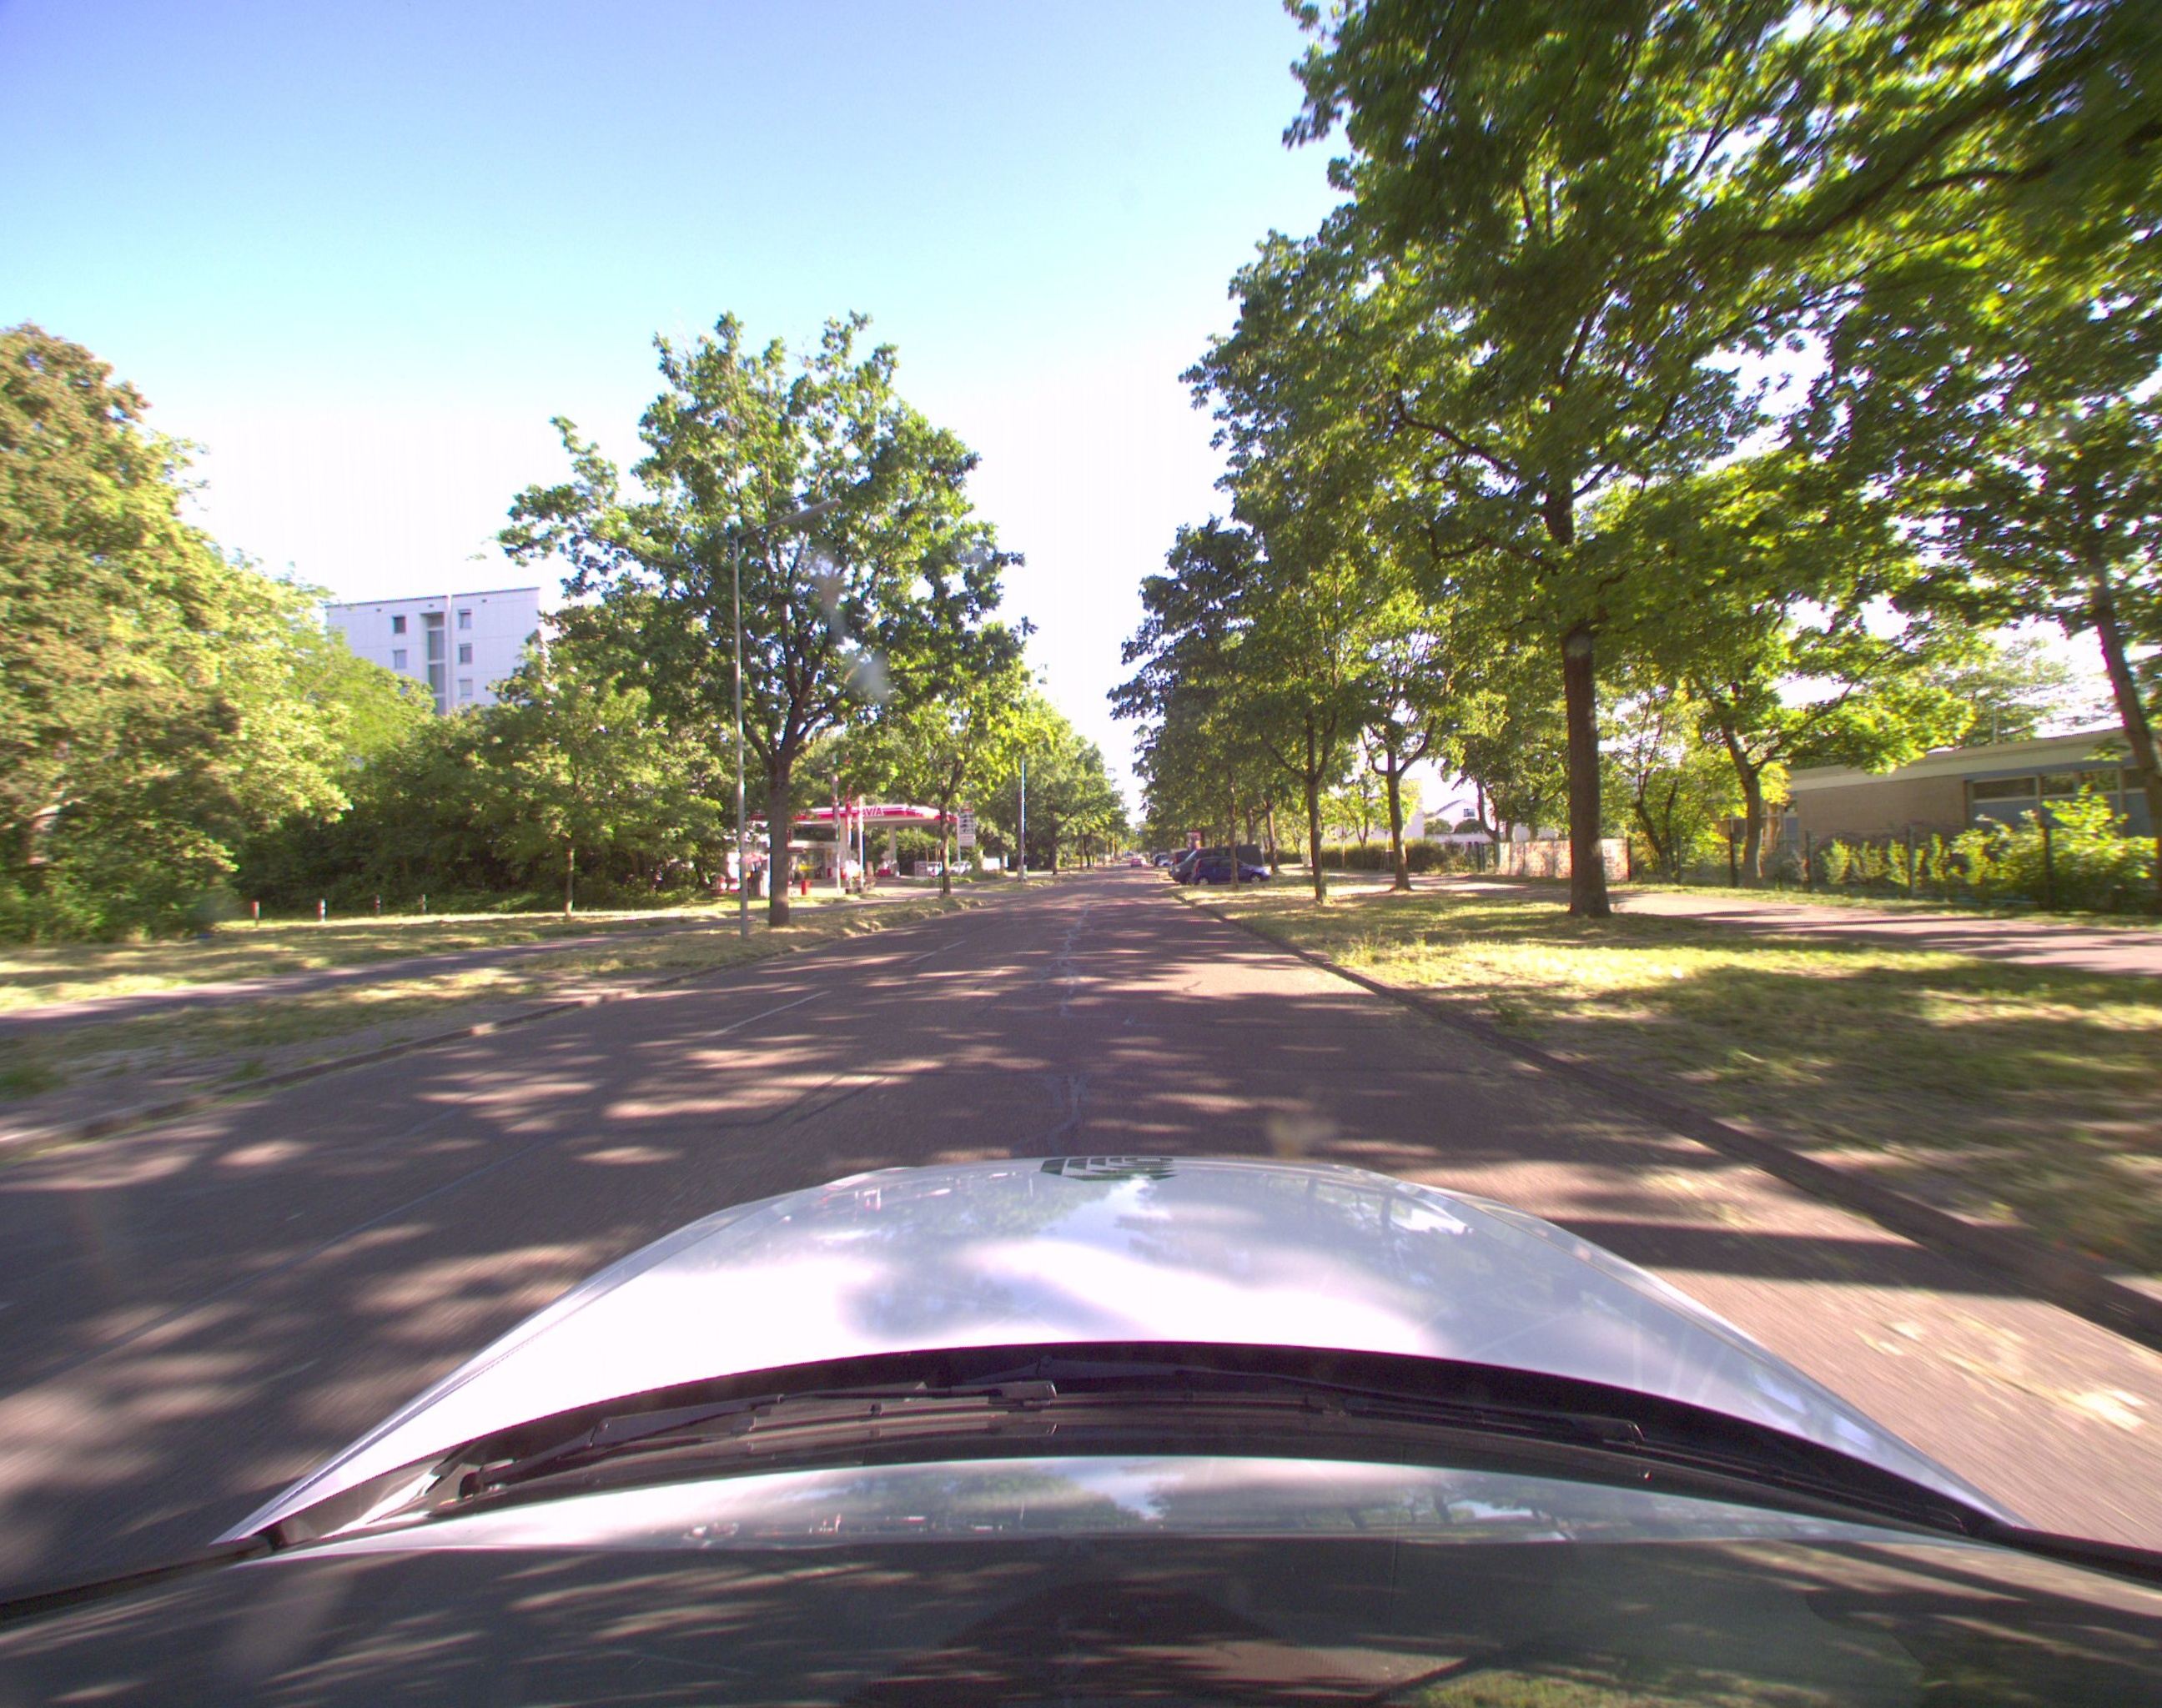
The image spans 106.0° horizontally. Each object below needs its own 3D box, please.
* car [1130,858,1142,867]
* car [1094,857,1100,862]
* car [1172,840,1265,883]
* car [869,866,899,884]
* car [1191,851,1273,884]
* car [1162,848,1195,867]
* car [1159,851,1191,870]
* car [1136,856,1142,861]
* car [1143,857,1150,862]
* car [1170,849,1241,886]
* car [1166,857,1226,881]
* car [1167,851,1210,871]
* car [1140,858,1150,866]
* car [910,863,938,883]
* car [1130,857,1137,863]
[{"bbox_3d":[8.300,1.286,123.117,1.654,1.337,3.667,-3,-2,3],"label":"car"},{"bbox_3d":[4.879,1.619,249.923,1.639,1.426,4.001,-2,0,2],"label":"car"},{"bbox_3d":[6.970,0.419,41.595,4.484,1.953,1.689,-3,-2,3],"label":"car"},{"bbox_3d":[-19.496,2.054,80.708,1.794,1.621,3.807,-3,-2,2],"label":"car"},{"bbox_3d":[7.128,0.647,38.596,3.638,1.398,1.318,-3,-2,3],"label":"car"},{"bbox_3d":[10.896,0.402,91.303,3.552,2.051,1.634,-3,-2,3],"label":"car"},{"bbox_3d":[10.871,0.798,94.037,3.552,2.051,1.576,-3,-2,3],"label":"car"},{"bbox_3d":[15.649,1.294,220.321,1.654,1.337,3.667,-3,-2,3],"label":"car"},{"bbox_3d":[18.765,1.663,234.606,1.726,1.337,3.672,-3,-2,7],"label":"car"},{"bbox_3d":[6.725,0.724,44.096,3.638,1.797,1.318,-3,-2,3],"label":"car"},{"bbox_3d":[7.318,0.970,52.085,3.638,1.330,1.318,-3,-2,3],"label":"car"},{"bbox_3d":[9.472,0.640,72.161,3.638,1.562,1.318,-3,-2,3],"label":"car"},{"bbox_3d":[11.174,1.368,142.292,1.654,1.337,3.667,-3,-2,3],"label":"car"},{"bbox_3d":[-15.167,1.810,78.731,1.794,1.823,3.806,-2,-2,2],"label":"car"},{"bbox_3d":[12.766,1.451,198.375,1.654,1.337,3.667,-3,-2,3],"label":"car"}]
